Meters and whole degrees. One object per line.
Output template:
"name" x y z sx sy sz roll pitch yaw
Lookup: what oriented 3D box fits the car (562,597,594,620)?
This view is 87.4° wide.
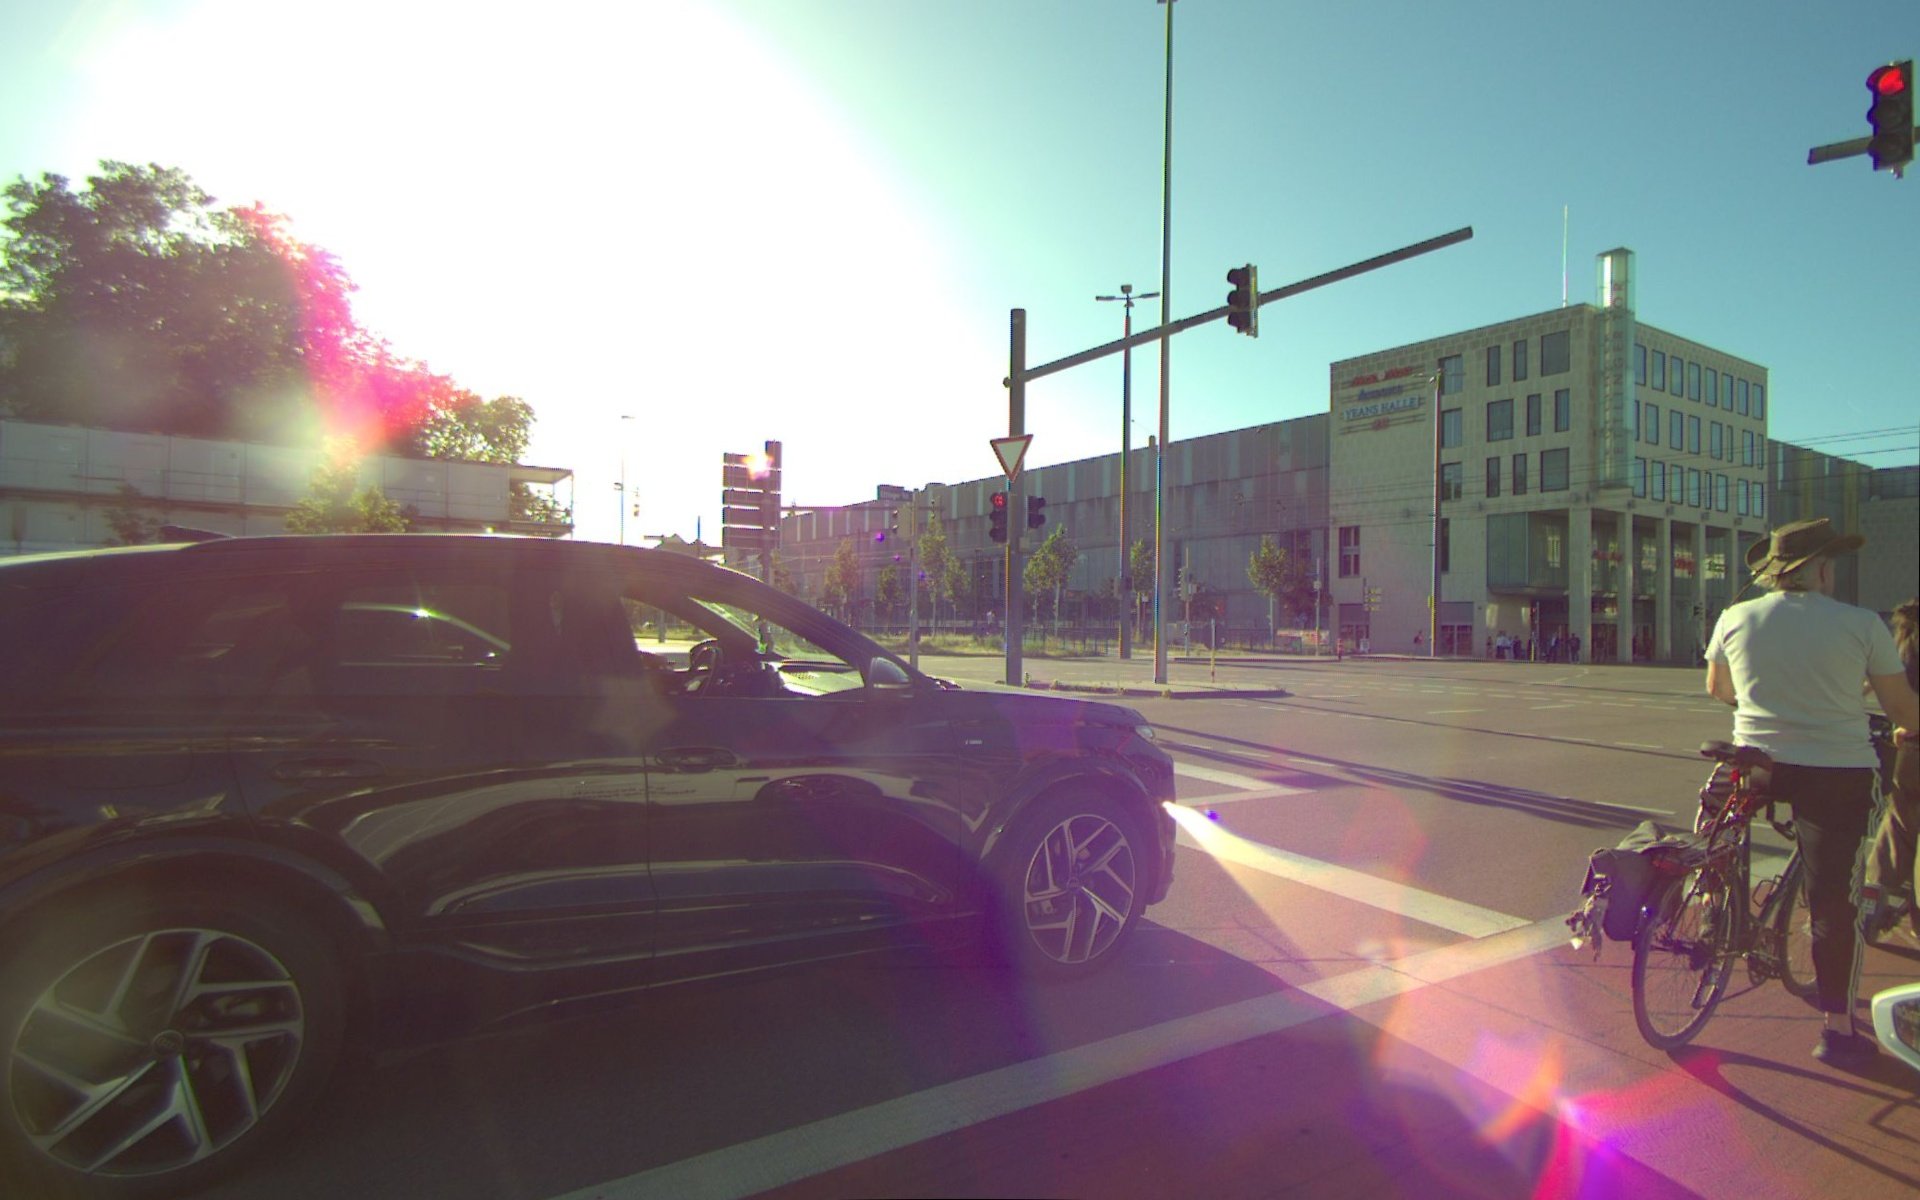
"car" -32.934 0.729 86.517 1.785 1.908 3.964 2 0 -33

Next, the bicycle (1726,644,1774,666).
"bicycle" 48.700 3.389 61.964 0.605 1.238 2.295 1 -1 -31

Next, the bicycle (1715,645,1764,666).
"bicycle" 46.967 3.329 60.532 0.605 1.238 2.295 1 -1 -31

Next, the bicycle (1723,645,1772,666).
"bicycle" 48.050 3.366 61.343 0.605 1.238 2.295 1 -1 -31

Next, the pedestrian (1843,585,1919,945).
"pedestrian" 4.637 0.766 4.811 0.568 1.654 0.543 2 0 -45

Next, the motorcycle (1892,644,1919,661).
"motorcycle" 70.742 3.907 74.860 0.508 1.223 1.786 1 0 -44

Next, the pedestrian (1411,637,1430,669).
"pedestrian" 30.170 3.436 65.811 0.767 2.040 0.876 2 0 -41

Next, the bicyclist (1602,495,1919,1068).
"bicyclist" 2.873 0.560 3.558 0.856 1.743 0.657 2 0 -30

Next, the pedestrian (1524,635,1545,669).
"pedestrian" 33.400 3.009 58.381 0.710 1.910 0.779 2 0 -36

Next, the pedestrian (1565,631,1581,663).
"pedestrian" 35.633 2.732 58.429 0.784 1.868 0.862 0 -1 32

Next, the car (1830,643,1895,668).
"car" 49.786 3.064 55.414 3.956 1.359 1.621 2 -4 -32

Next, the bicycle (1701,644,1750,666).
"bicycle" 45.765 3.290 60.088 0.605 1.238 2.295 1 -1 -31

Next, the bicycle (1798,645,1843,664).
"bicycle" 59.826 3.766 69.857 0.605 1.238 2.295 1 -1 -31

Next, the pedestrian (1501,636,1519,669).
"pedestrian" 33.224 3.167 60.676 0.780 1.910 0.709 2 0 -37

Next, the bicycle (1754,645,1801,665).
"bicycle" 52.904 3.532 65.023 0.605 1.238 2.295 1 -1 -31

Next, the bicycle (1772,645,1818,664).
"bicycle" 55.522 3.620 66.835 0.605 1.238 2.295 1 -1 -31

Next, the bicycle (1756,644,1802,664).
"bicycle" 54.284 3.581 66.571 0.605 1.238 2.295 1 -1 -31

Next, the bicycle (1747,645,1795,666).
"bicycle" 51.280 3.475 63.556 0.605 1.238 2.295 1 -1 -31

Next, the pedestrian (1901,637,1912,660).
"pedestrian" 71.100 3.670 75.460 0.579 1.702 0.516 1 1 -43

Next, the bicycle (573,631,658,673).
"bicycle" -12.764 1.905 37.190 2.905 1.388 0.970 2 0 15

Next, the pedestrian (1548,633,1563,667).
"pedestrian" 34.338 2.897 57.917 0.705 1.910 0.785 2 0 33

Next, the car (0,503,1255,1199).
"car" -1.150 0.636 3.875 4.630 1.656 1.760 1 0 -32

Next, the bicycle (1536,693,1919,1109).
"bicycle" 2.883 0.965 3.684 1.810 1.171 0.482 2 0 -31

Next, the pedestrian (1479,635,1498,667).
"pedestrian" 32.337 3.111 61.472 0.710 1.910 0.779 2 0 -36

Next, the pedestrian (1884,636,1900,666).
"pedestrian" 55.810 3.052 60.138 0.639 1.742 0.449 0 -1 37

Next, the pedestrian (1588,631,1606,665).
"pedestrian" 35.875 2.696 56.588 0.784 1.868 0.863 0 -1 28

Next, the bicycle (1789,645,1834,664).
"bicycle" 58.855 3.734 69.433 0.605 1.238 2.295 1 -1 -31

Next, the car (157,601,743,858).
"car" -3.582 0.794 7.500 3.562 1.505 1.485 1 0 -30

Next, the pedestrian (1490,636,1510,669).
"pedestrian" 32.165 3.131 59.873 0.710 1.910 0.779 2 0 -36

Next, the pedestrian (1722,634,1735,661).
"pedestrian" 50.898 3.144 66.495 0.602 1.702 0.549 1 1 -40

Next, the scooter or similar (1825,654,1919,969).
"scooter or similar" 4.496 0.930 4.719 1.186 1.311 0.541 2 0 -45

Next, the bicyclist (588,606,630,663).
"bicyclist" -13.036 1.262 37.284 1.078 2.040 0.961 2 0 14

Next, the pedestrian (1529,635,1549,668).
"pedestrian" 34.410 3.046 59.694 0.710 1.910 0.779 2 0 -36
